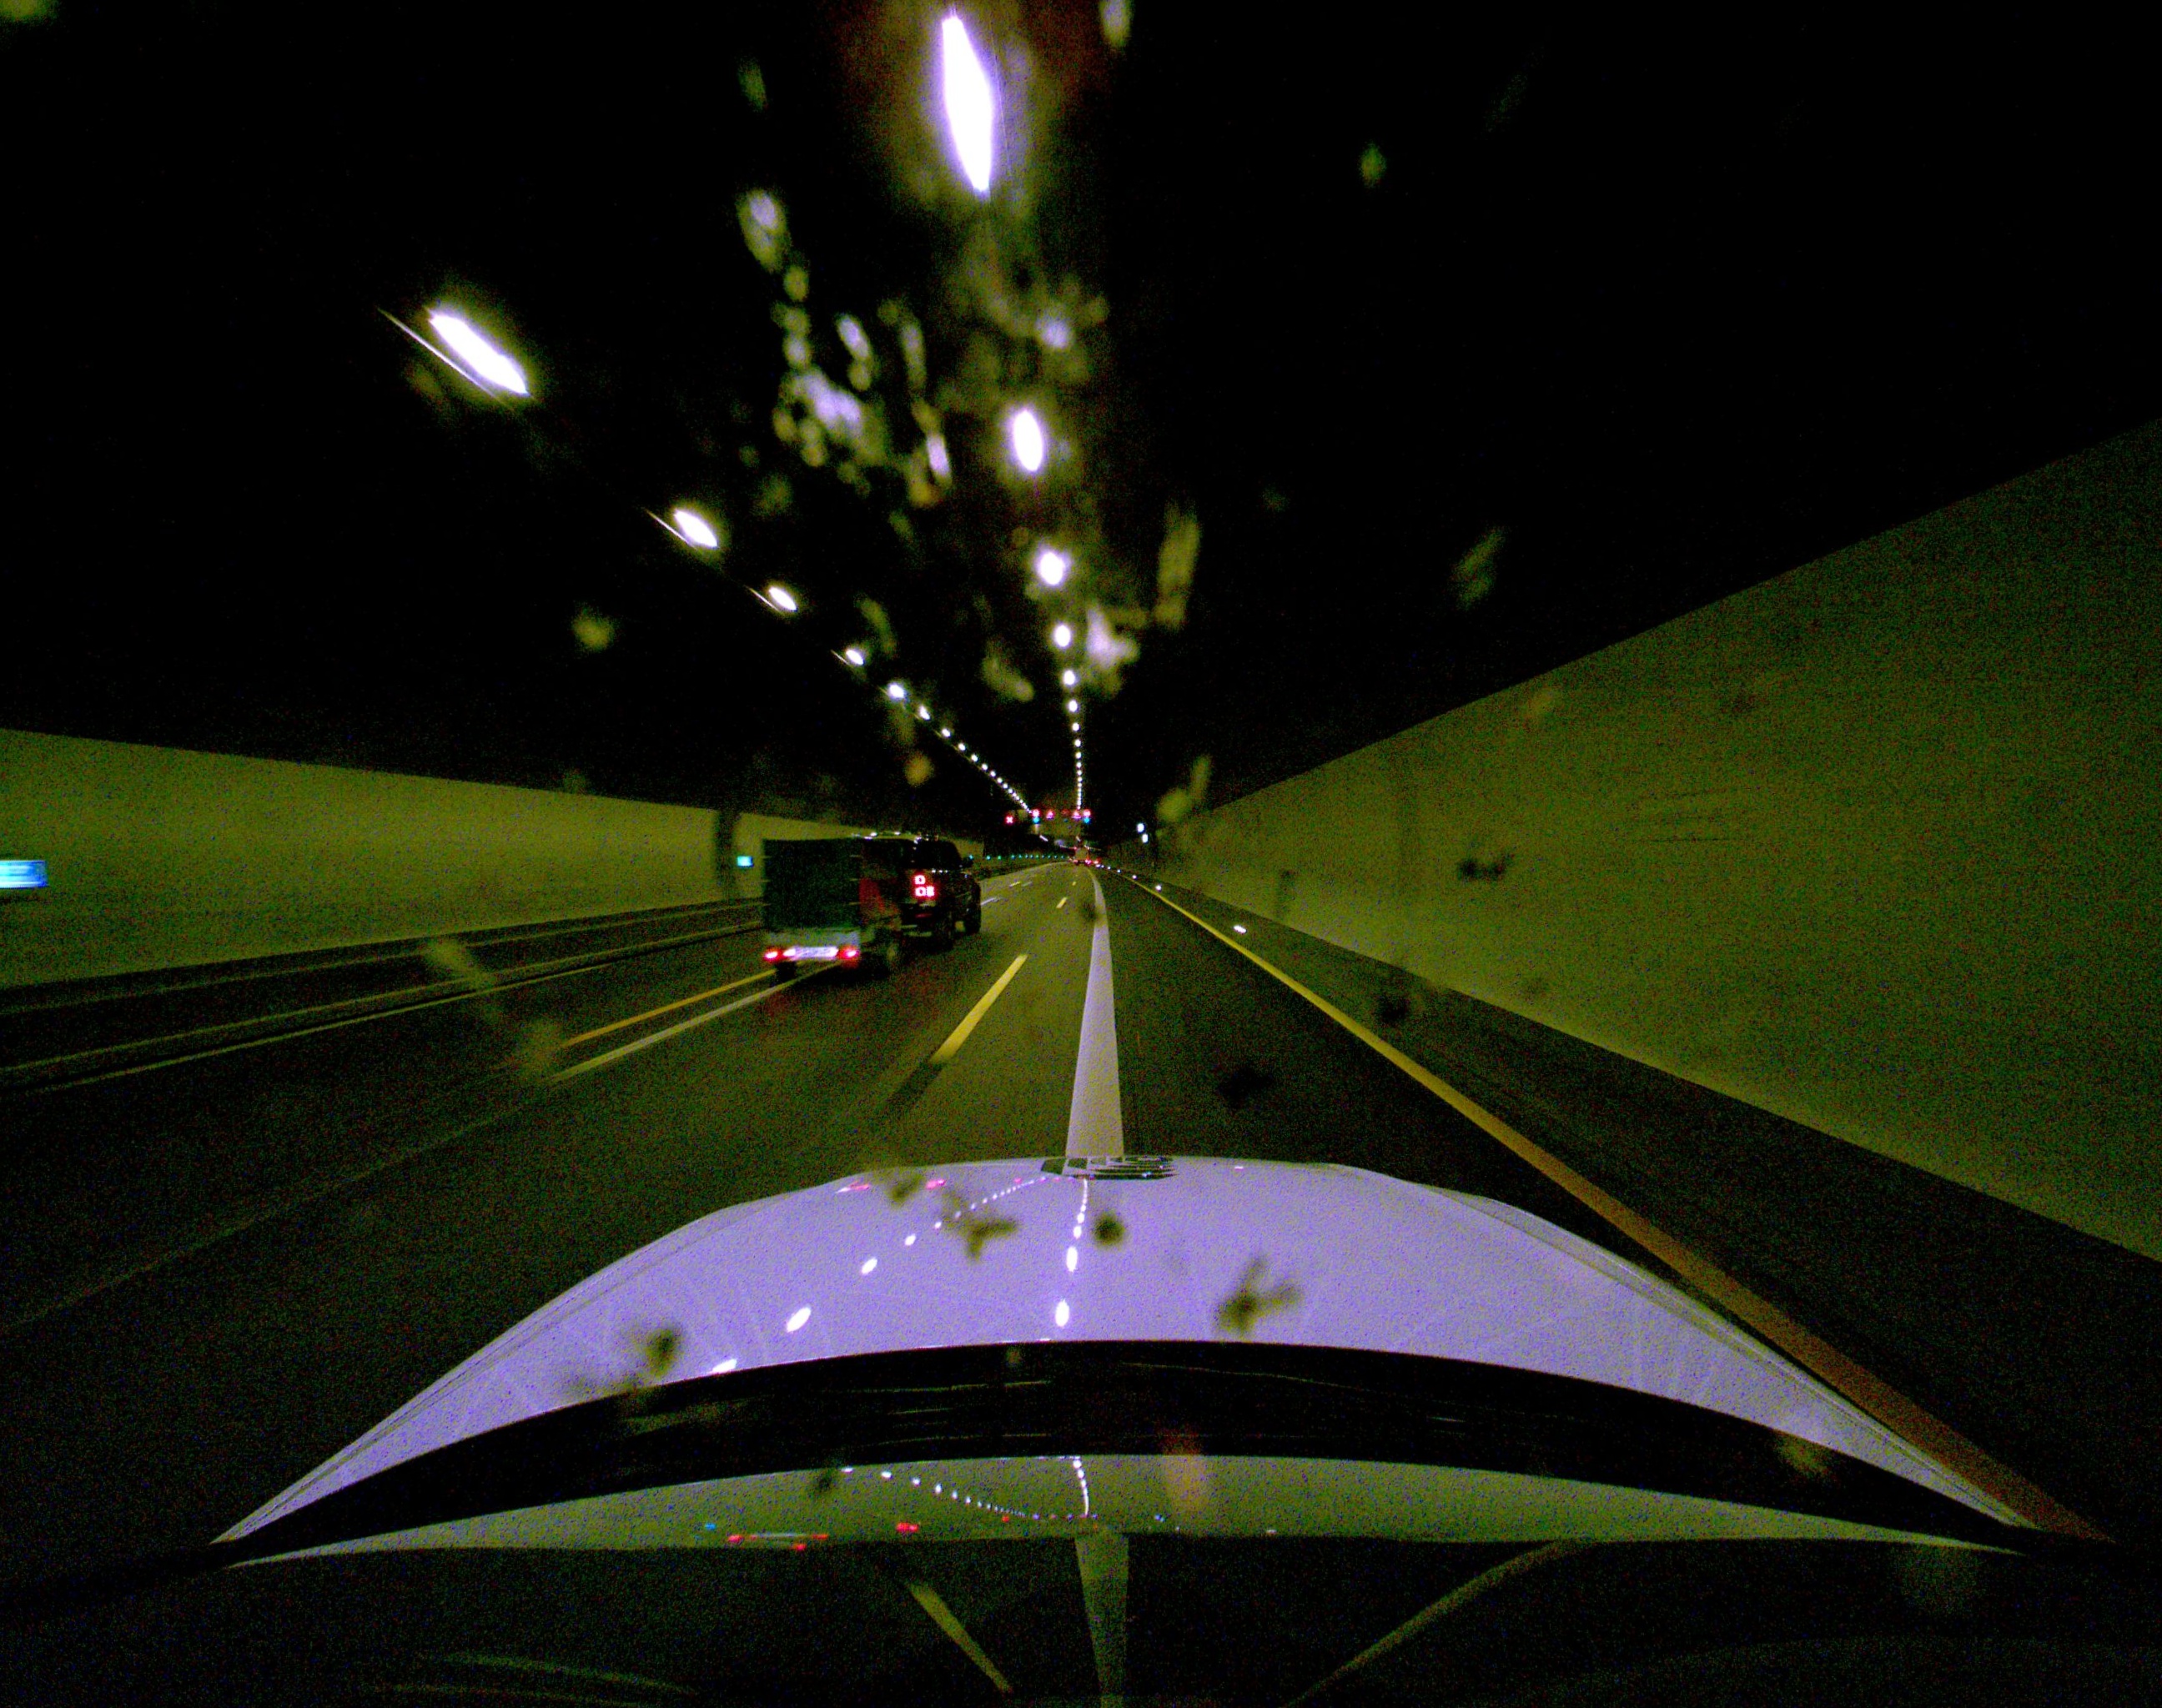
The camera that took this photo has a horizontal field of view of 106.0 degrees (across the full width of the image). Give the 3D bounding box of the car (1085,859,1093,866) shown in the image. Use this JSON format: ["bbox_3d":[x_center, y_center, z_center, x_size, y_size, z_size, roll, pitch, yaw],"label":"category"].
[{"bbox_3d":[2.204,2.292,221.703,1.984,1.895,5.539,1,0,5],"label":"car"}]

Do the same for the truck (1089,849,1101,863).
[{"bbox_3d":[4.423,0.705,260.066,3.463,4.316,10.948,0,0,0],"label":"truck"}]

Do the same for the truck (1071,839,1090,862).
[{"bbox_3d":[-0.104,-0.644,161.512,3.463,4.316,10.949,1,0,0],"label":"truck"}]

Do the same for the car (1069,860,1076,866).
[{"bbox_3d":[-2.327,2.363,218.885,1.988,1.582,3.998,1,0,-1],"label":"car"}]

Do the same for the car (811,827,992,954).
[{"bbox_3d":[-3.028,0.558,15.102,1.986,1.895,5.454,-1,0,1],"label":"car"}]
